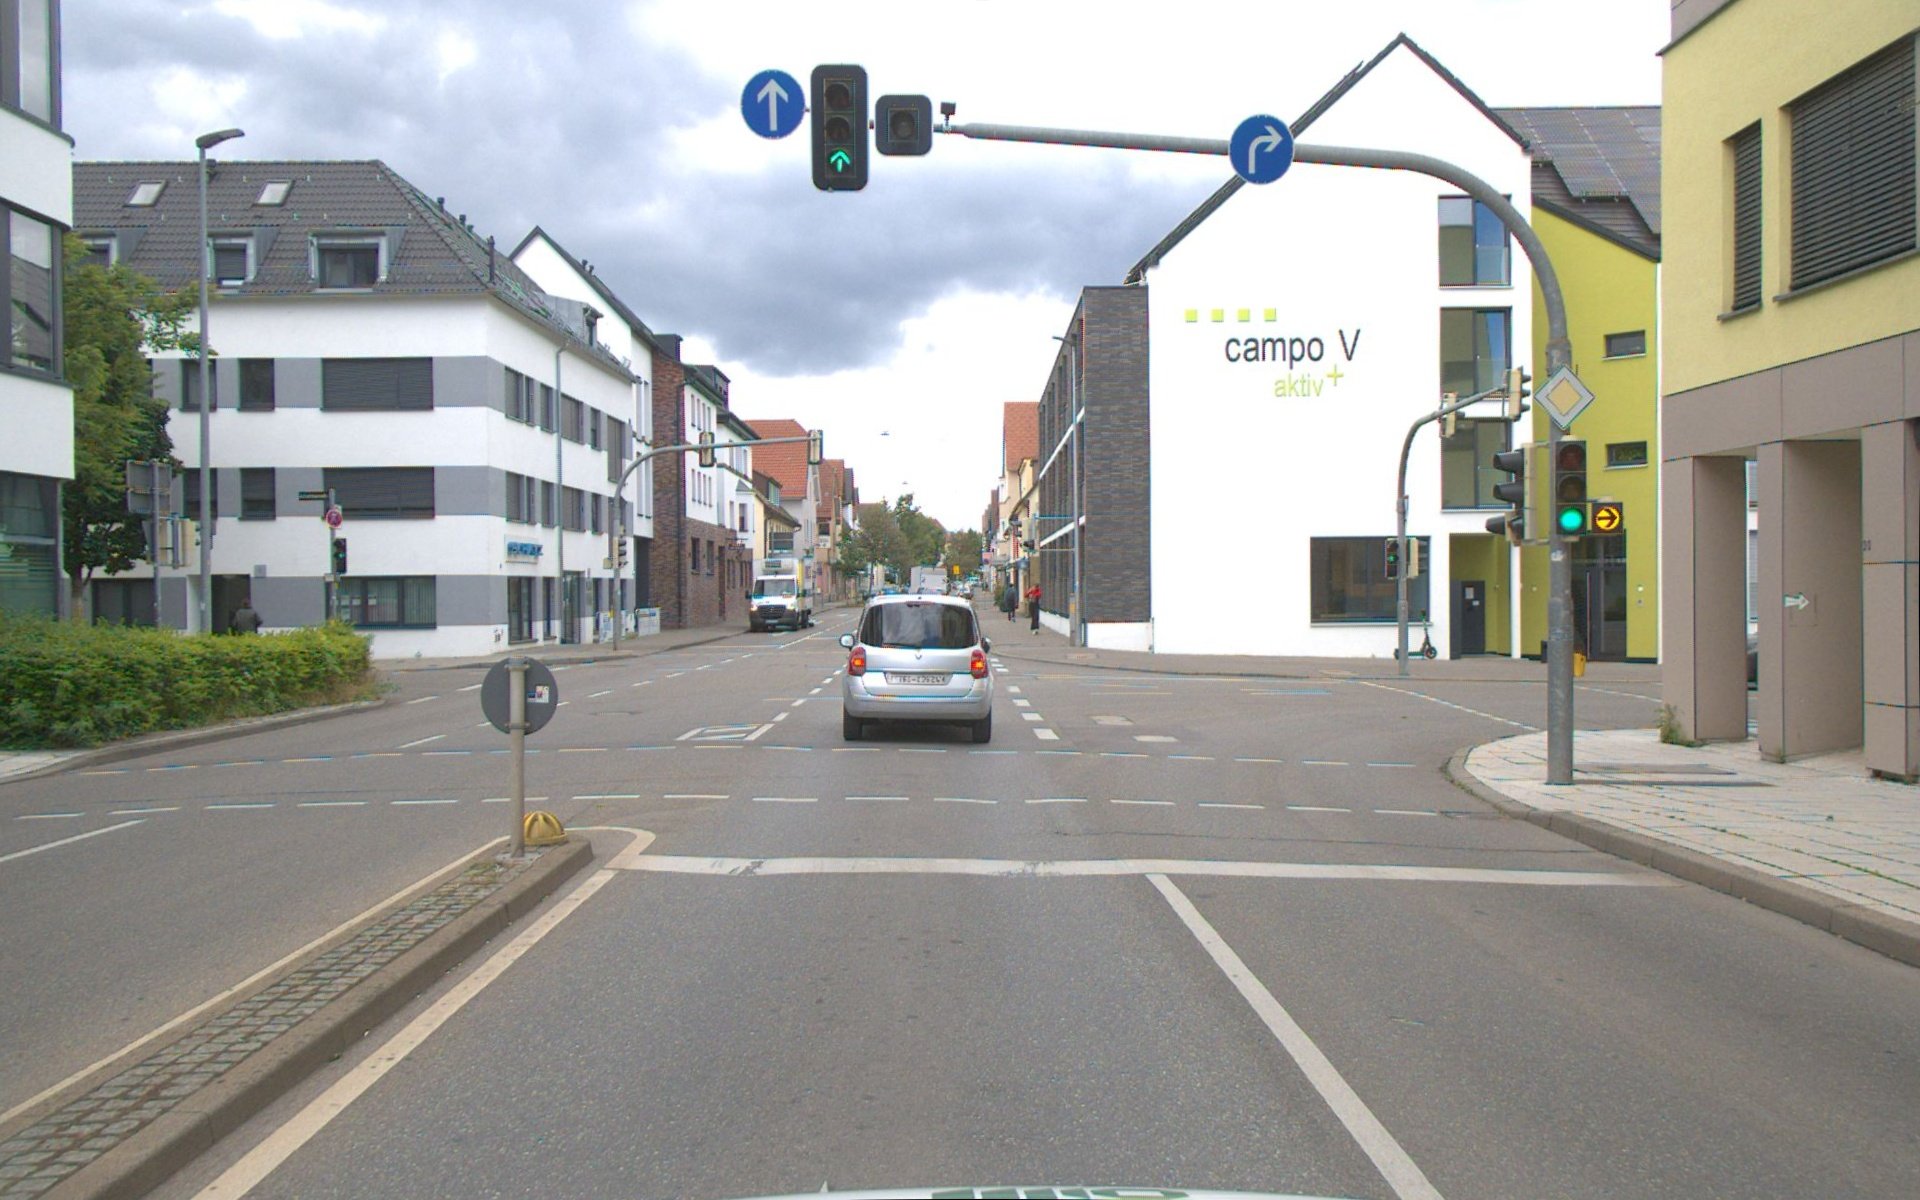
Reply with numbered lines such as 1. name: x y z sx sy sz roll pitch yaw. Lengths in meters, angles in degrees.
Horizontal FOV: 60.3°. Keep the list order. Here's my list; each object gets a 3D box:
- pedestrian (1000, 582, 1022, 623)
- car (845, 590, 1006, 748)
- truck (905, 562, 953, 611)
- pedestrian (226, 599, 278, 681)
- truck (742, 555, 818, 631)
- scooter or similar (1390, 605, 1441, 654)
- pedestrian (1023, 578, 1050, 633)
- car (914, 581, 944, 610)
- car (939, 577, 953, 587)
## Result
1. pedestrian: 2.337 0.107 75.380 0.871 1.817 0.785 -4 1 0
2. car: -0.392 0.711 19.351 1.672 1.606 3.999 1 1 -1
3. truck: -2.641 -1.126 137.514 2.551 3.925 6.825 -1 1 -13
4. pedestrian: -15.526 0.856 36.278 0.874 1.698 0.805 -3 4 -33
5. truck: -7.579 -0.349 70.658 2.385 3.005 8.363 -2 1 -1
6. scooter or similar: 12.023 0.780 43.674 1.205 1.256 0.406 1 0 0
7. pedestrian: 2.637 0.195 56.905 0.791 1.817 0.861 -4 1 0
8. car: -1.788 -0.272 95.528 1.672 1.606 3.999 1 1 -1
9. car: -1.924 -2.455 224.909 1.775 1.377 4.000 -2 1 0
